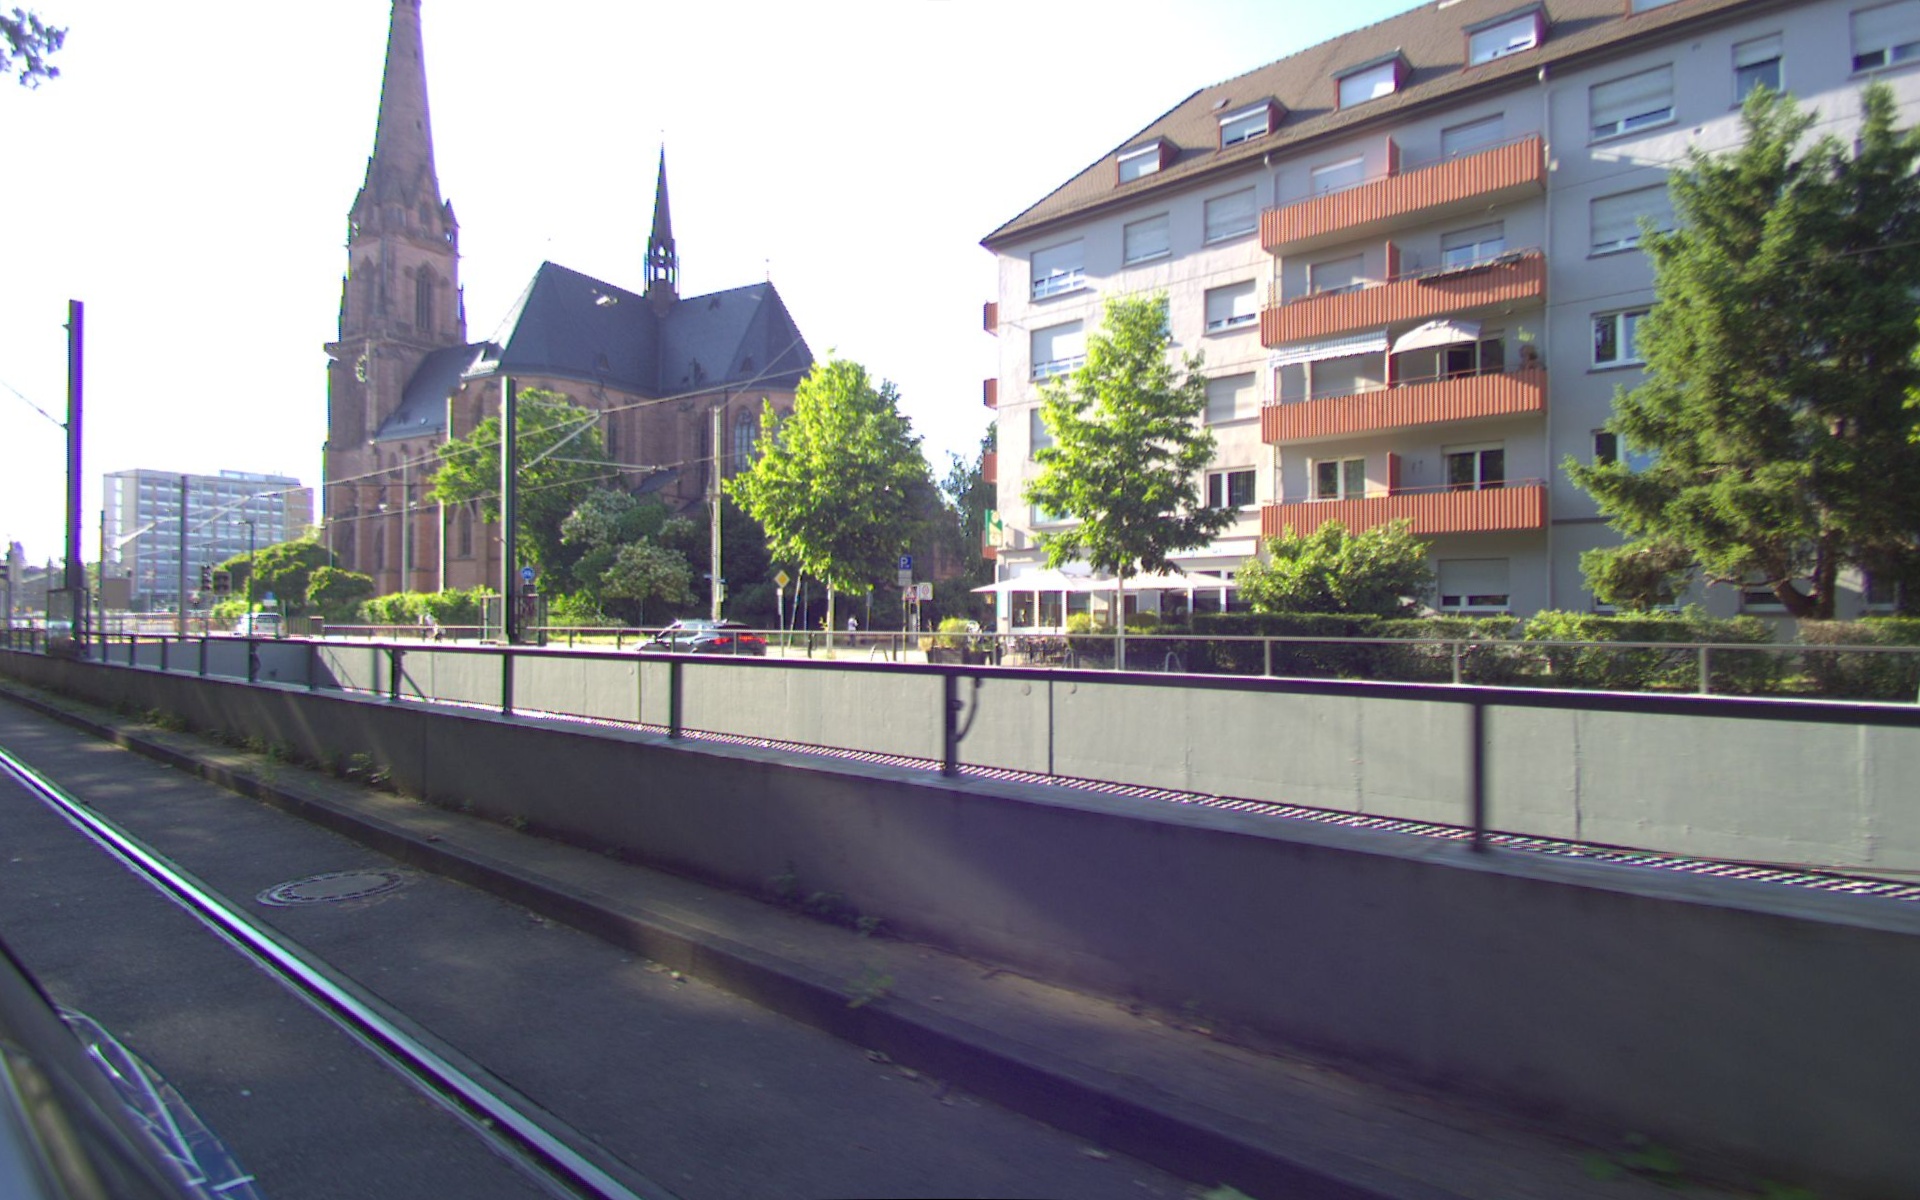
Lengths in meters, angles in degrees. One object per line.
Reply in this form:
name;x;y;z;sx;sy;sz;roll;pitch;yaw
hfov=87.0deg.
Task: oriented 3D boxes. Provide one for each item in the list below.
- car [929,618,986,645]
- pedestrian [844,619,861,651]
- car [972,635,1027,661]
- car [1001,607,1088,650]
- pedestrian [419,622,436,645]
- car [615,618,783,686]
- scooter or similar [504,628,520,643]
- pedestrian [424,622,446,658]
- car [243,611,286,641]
car;-0.120;1.868;60.136;1.693;1.431;3.636;-2;0;31
pedestrian;-5.603;1.822;52.780;0.720;1.667;0.505;-2;0;39
car;2.555;3.026;64.315;1.746;1.431;4.055;-2;0;31
car;4.258;1.436;51.307;3.964;2.028;1.807;-2;1;29
pedestrian;-35.555;2.219;67.571;0.945;1.500;0.580;-2;1;38
car;-6.848;1.295;26.357;4.402;1.515;1.952;-1;1;39
scooter or similar;-28.253;2.240;63.834;0.913;0.943;0.306;-2;1;20
pedestrian;-25.119;1.901;48.419;0.751;1.685;0.490;-2;1;26
car;-49.221;1.821;71.541;1.968;2.029;5.020;3;-2;-40
